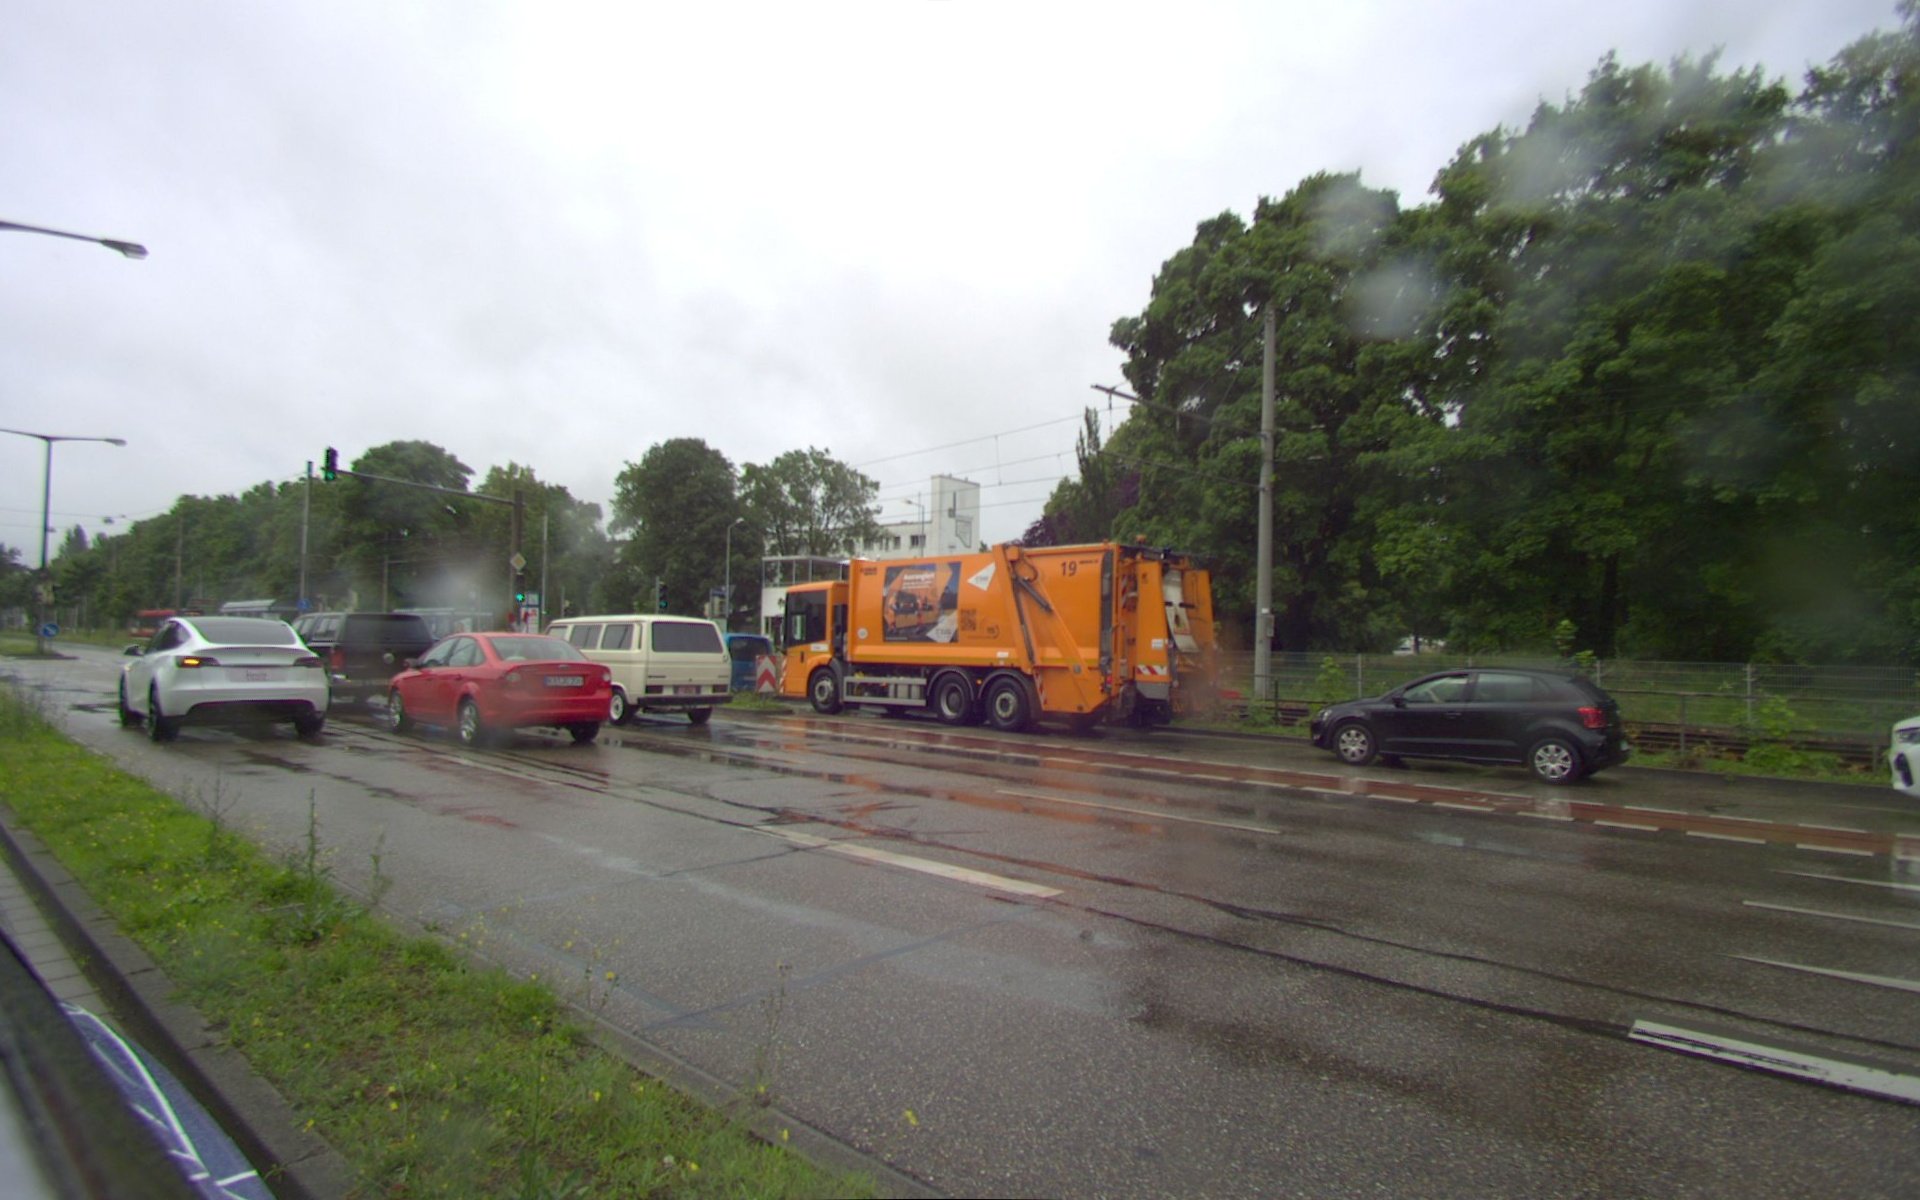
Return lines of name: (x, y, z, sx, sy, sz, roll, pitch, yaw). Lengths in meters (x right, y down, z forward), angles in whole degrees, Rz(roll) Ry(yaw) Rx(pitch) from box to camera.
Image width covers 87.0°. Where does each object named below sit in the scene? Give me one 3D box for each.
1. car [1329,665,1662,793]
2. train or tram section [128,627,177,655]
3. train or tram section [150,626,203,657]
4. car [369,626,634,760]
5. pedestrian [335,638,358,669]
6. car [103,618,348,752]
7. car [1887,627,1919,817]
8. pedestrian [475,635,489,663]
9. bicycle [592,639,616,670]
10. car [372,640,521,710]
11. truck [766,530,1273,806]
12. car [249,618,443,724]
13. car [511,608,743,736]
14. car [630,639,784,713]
car: (7.085, 1.638, 13.599, 3.686, 1.389, 1.570, -2, -5, 43)
train or tram section: (-103.242, 5.235, 129.339, 10.264, 3.427, 3.493, -2, -4, 44)
train or tram section: (-90.520, 4.822, 116.860, 9.281, 3.416, 3.493, -2, -4, 44)
car: (-6.660, 1.226, 14.470, 4.428, 1.581, 1.781, -1, -4, 42)
pedestrian: (-34.013, 2.968, 56.133, 0.800, 1.670, 0.776, -1, -1, 26)
car: (-10.684, 1.133, 14.577, 4.697, 1.629, 1.939, -2, -4, 43)
car: (11.476, 1.234, 8.868, 1.969, 1.841, 4.778, 6, -5, -41)
pedestrian: (-30.598, 3.124, 64.797, 0.681, 1.806, 0.623, -1, -1, 43)
bicycle: (-21.244, 3.237, 60.343, 1.735, 1.774, 0.632, -2, -4, 45)
car: (-11.906, 1.699, 23.362, 3.998, 1.438, 1.624, -1, -5, 41)
truck: (0.585, 1.110, 20.220, 10.407, 4.199, 3.348, -1, -1, 43)
car: (-11.919, 1.305, 19.485, 5.089, 1.787, 1.786, -2, -5, 43)
car: (-6.171, 1.273, 18.449, 4.743, 2.033, 1.908, -2, -5, 43)
car: (-6.913, 1.968, 27.393, 4.528, 1.722, 1.971, -1, -1, 44)
